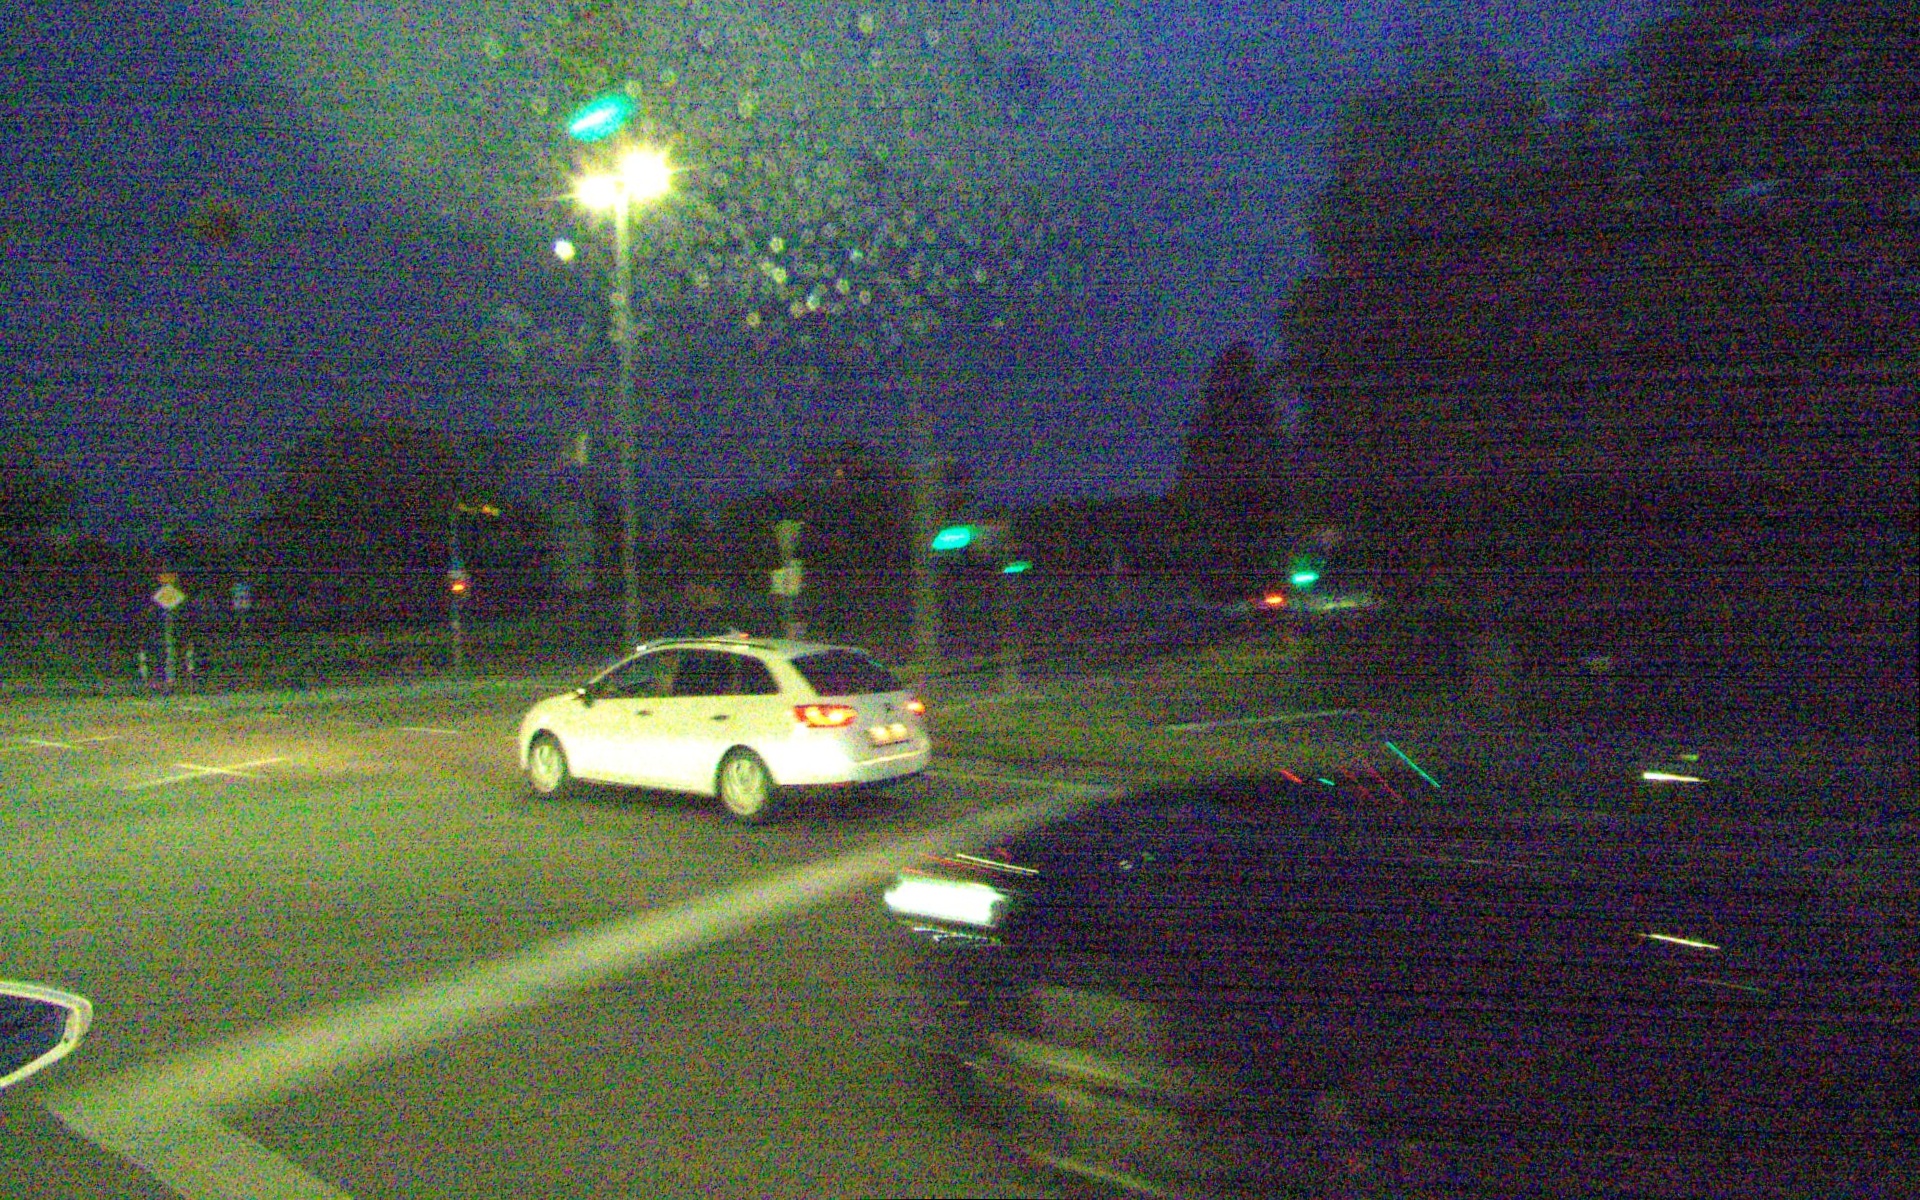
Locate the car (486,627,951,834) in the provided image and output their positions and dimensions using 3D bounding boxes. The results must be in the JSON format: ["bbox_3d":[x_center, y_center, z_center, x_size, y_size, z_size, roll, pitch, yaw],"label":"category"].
[{"bbox_3d":[-2.229,0.998,8.910,4.057,1.462,1.617,-1,-1,31],"label":"car"}]

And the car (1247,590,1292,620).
[{"bbox_3d":[18.527,0.270,59.873,1.715,1.594,4.038,-1,1,30],"label":"car"}]

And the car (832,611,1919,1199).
[{"bbox_3d":[1.968,0.786,2.526,4.470,1.461,1.787,-2,-3,33],"label":"car"}]
